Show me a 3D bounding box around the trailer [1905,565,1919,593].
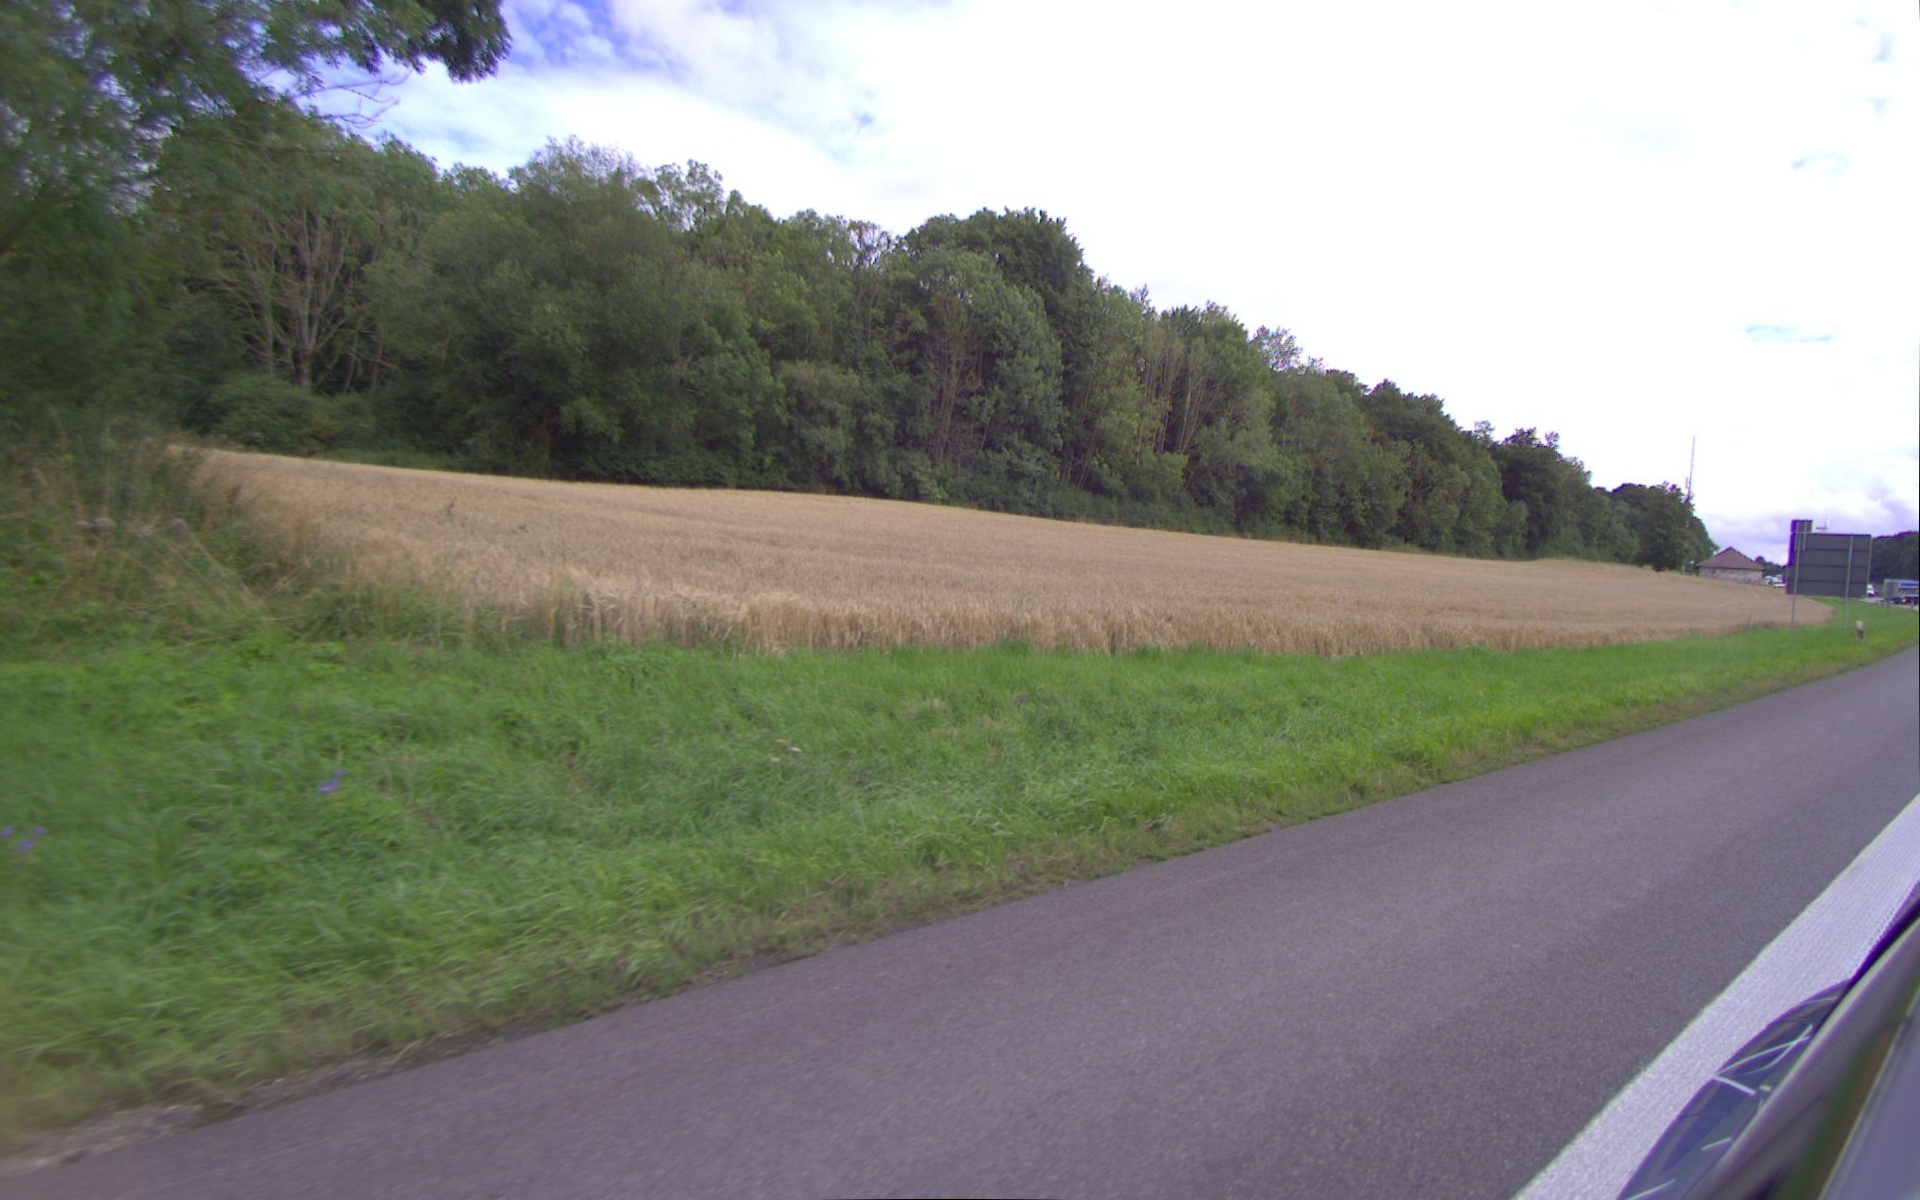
[{"bbox_3d":[140.854,-3.016,148.572,2.778,4.004,11.125,1,2,42],"label":"trailer"}]

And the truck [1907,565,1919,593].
[{"bbox_3d":[136.829,-2.959,144.092,2.787,4.021,5.849,1,1,42],"label":"truck"}]
